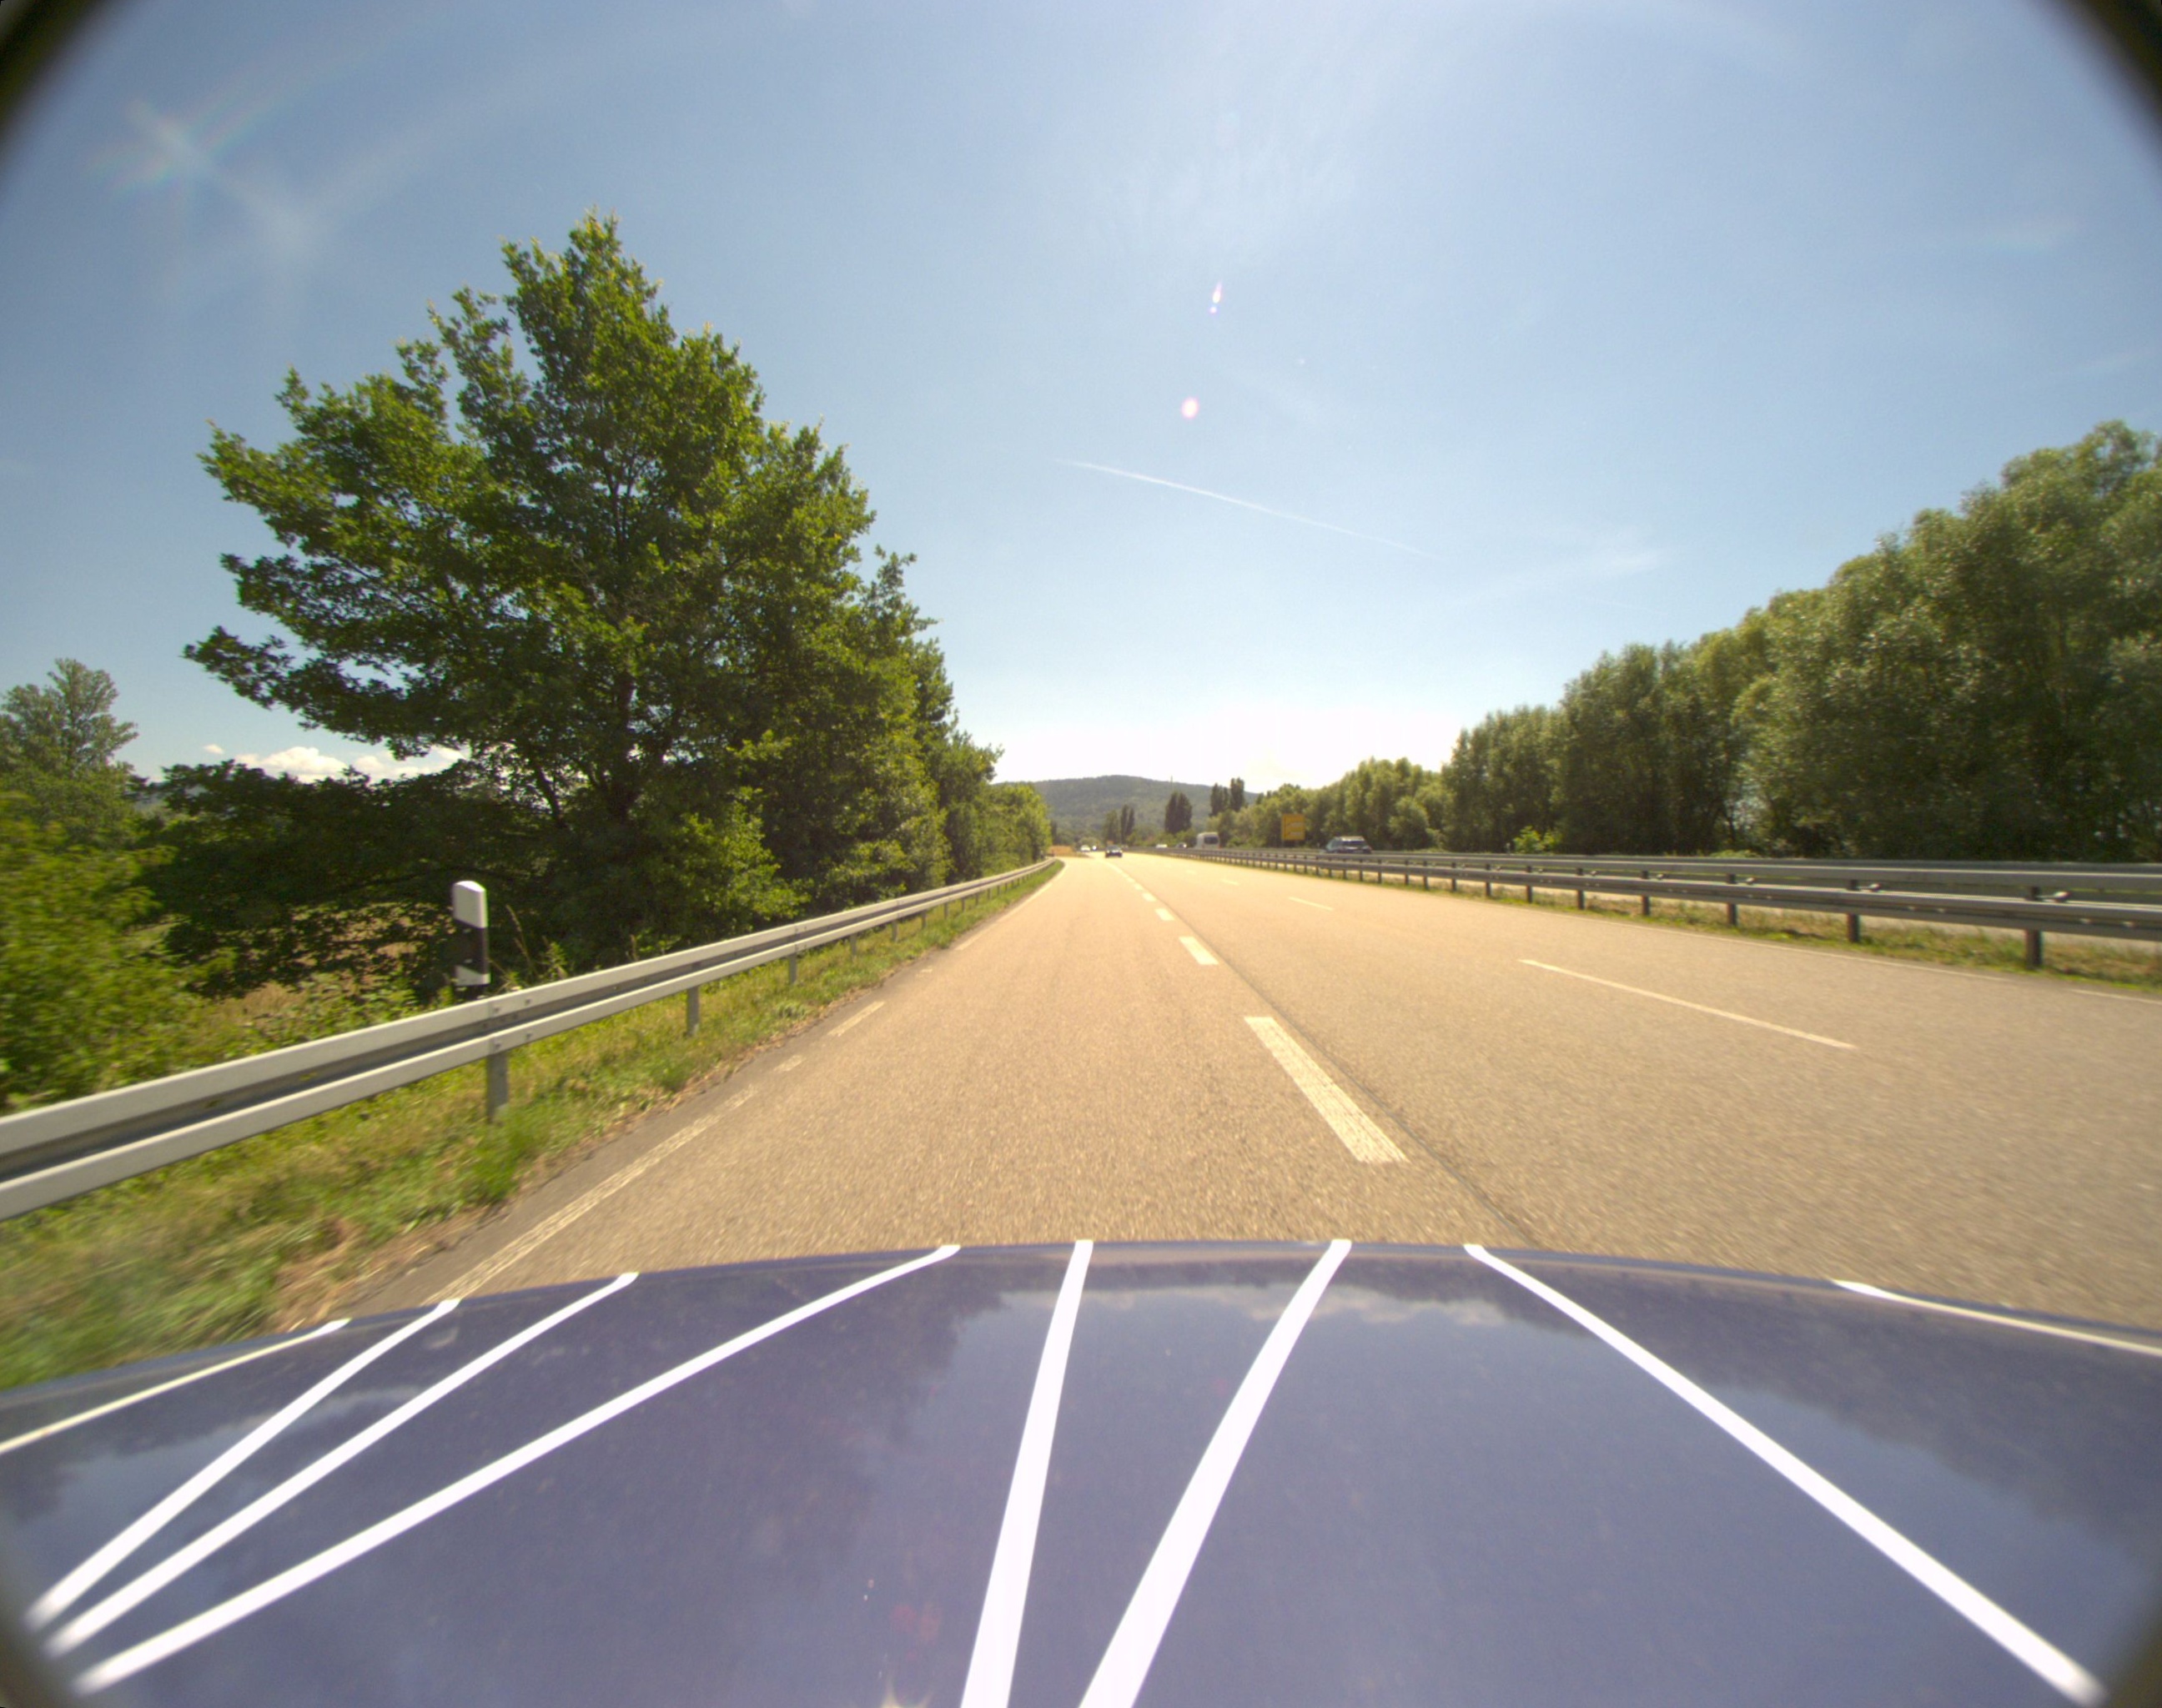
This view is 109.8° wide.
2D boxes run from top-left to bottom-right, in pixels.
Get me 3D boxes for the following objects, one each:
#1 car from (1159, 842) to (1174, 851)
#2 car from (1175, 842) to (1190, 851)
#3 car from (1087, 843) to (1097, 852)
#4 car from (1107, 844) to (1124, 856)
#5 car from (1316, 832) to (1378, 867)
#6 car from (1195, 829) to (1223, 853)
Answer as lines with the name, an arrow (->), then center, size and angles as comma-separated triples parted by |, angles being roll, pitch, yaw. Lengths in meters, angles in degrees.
car -> 14.091, -1.297, 125.372 | 1.923, 1.481, 3.998 | -1, 1, -2
car -> 17.096, -1.274, 127.917 | 1.693, 1.543, 4.072 | -1, 1, -3
car -> 2.300, -1.337, 157.697 | 1.998, 1.630, 4.001 | -1, 0, 3
car -> 4.242, -0.510, 93.139 | 1.908, 1.368, 3.890 | -1, 1, 1
car -> 14.640, -0.263, 42.071 | 1.867, 1.820, 4.659 | -1, 1, 1
car -> 14.633, -1.487, 87.242 | 2.107, 2.667, 6.627 | -1, 1, 1
